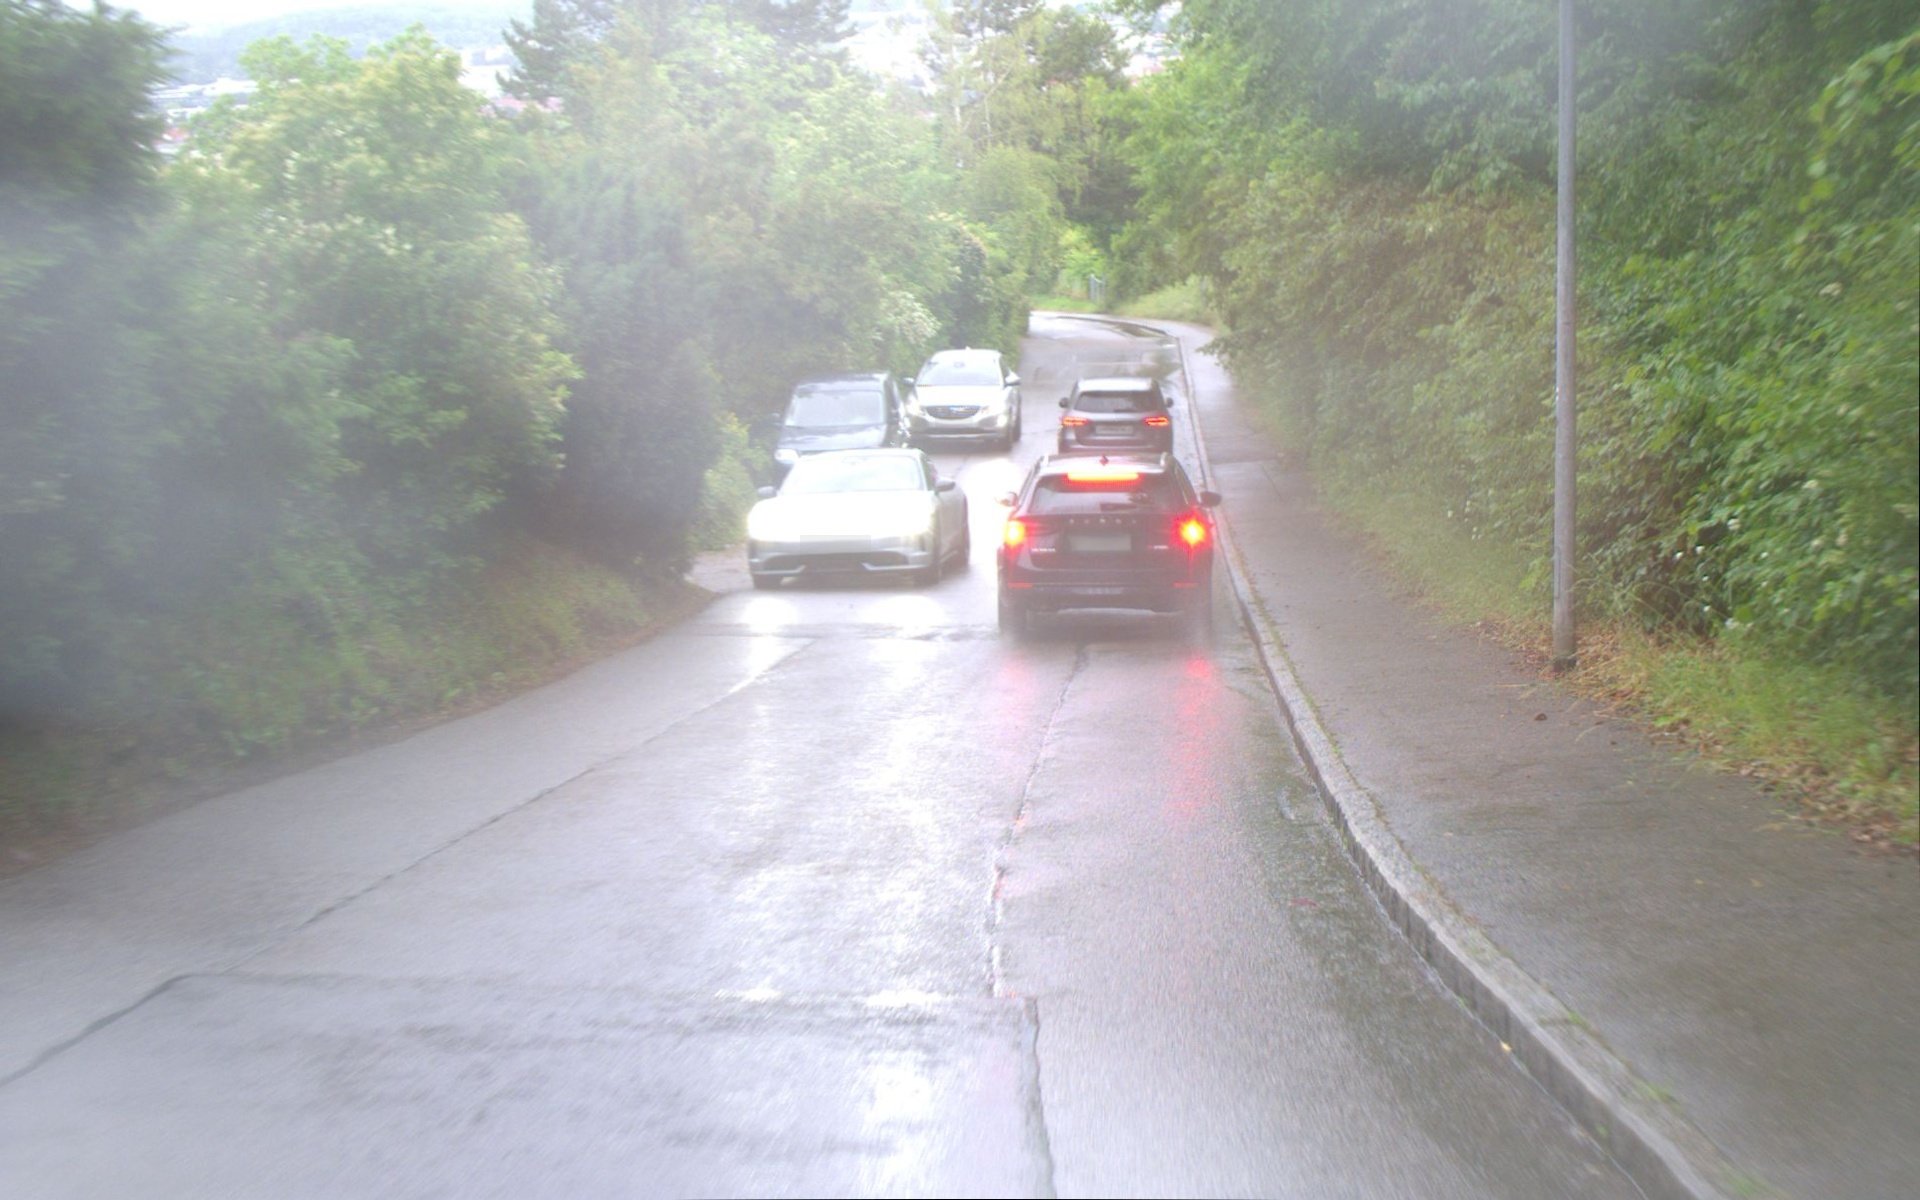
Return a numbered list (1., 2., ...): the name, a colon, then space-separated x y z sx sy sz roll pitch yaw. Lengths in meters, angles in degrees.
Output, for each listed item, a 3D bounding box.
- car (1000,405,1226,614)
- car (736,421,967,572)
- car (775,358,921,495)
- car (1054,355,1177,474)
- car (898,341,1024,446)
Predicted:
1. car: 1.227 -0.822 28.999 1.699 1.445 4.001 -1 5 0
2. car: -1.092 -1.097 37.022 1.941 1.517 4.578 0 1 5
3. car: -1.624 -2.621 51.140 1.689 1.776 4.233 -1 6 4
4. car: 2.436 -2.874 53.970 1.863 1.737 4.000 0 1 2
5. car: 0.053 -3.701 61.032 2.048 1.595 4.230 1 7 2
